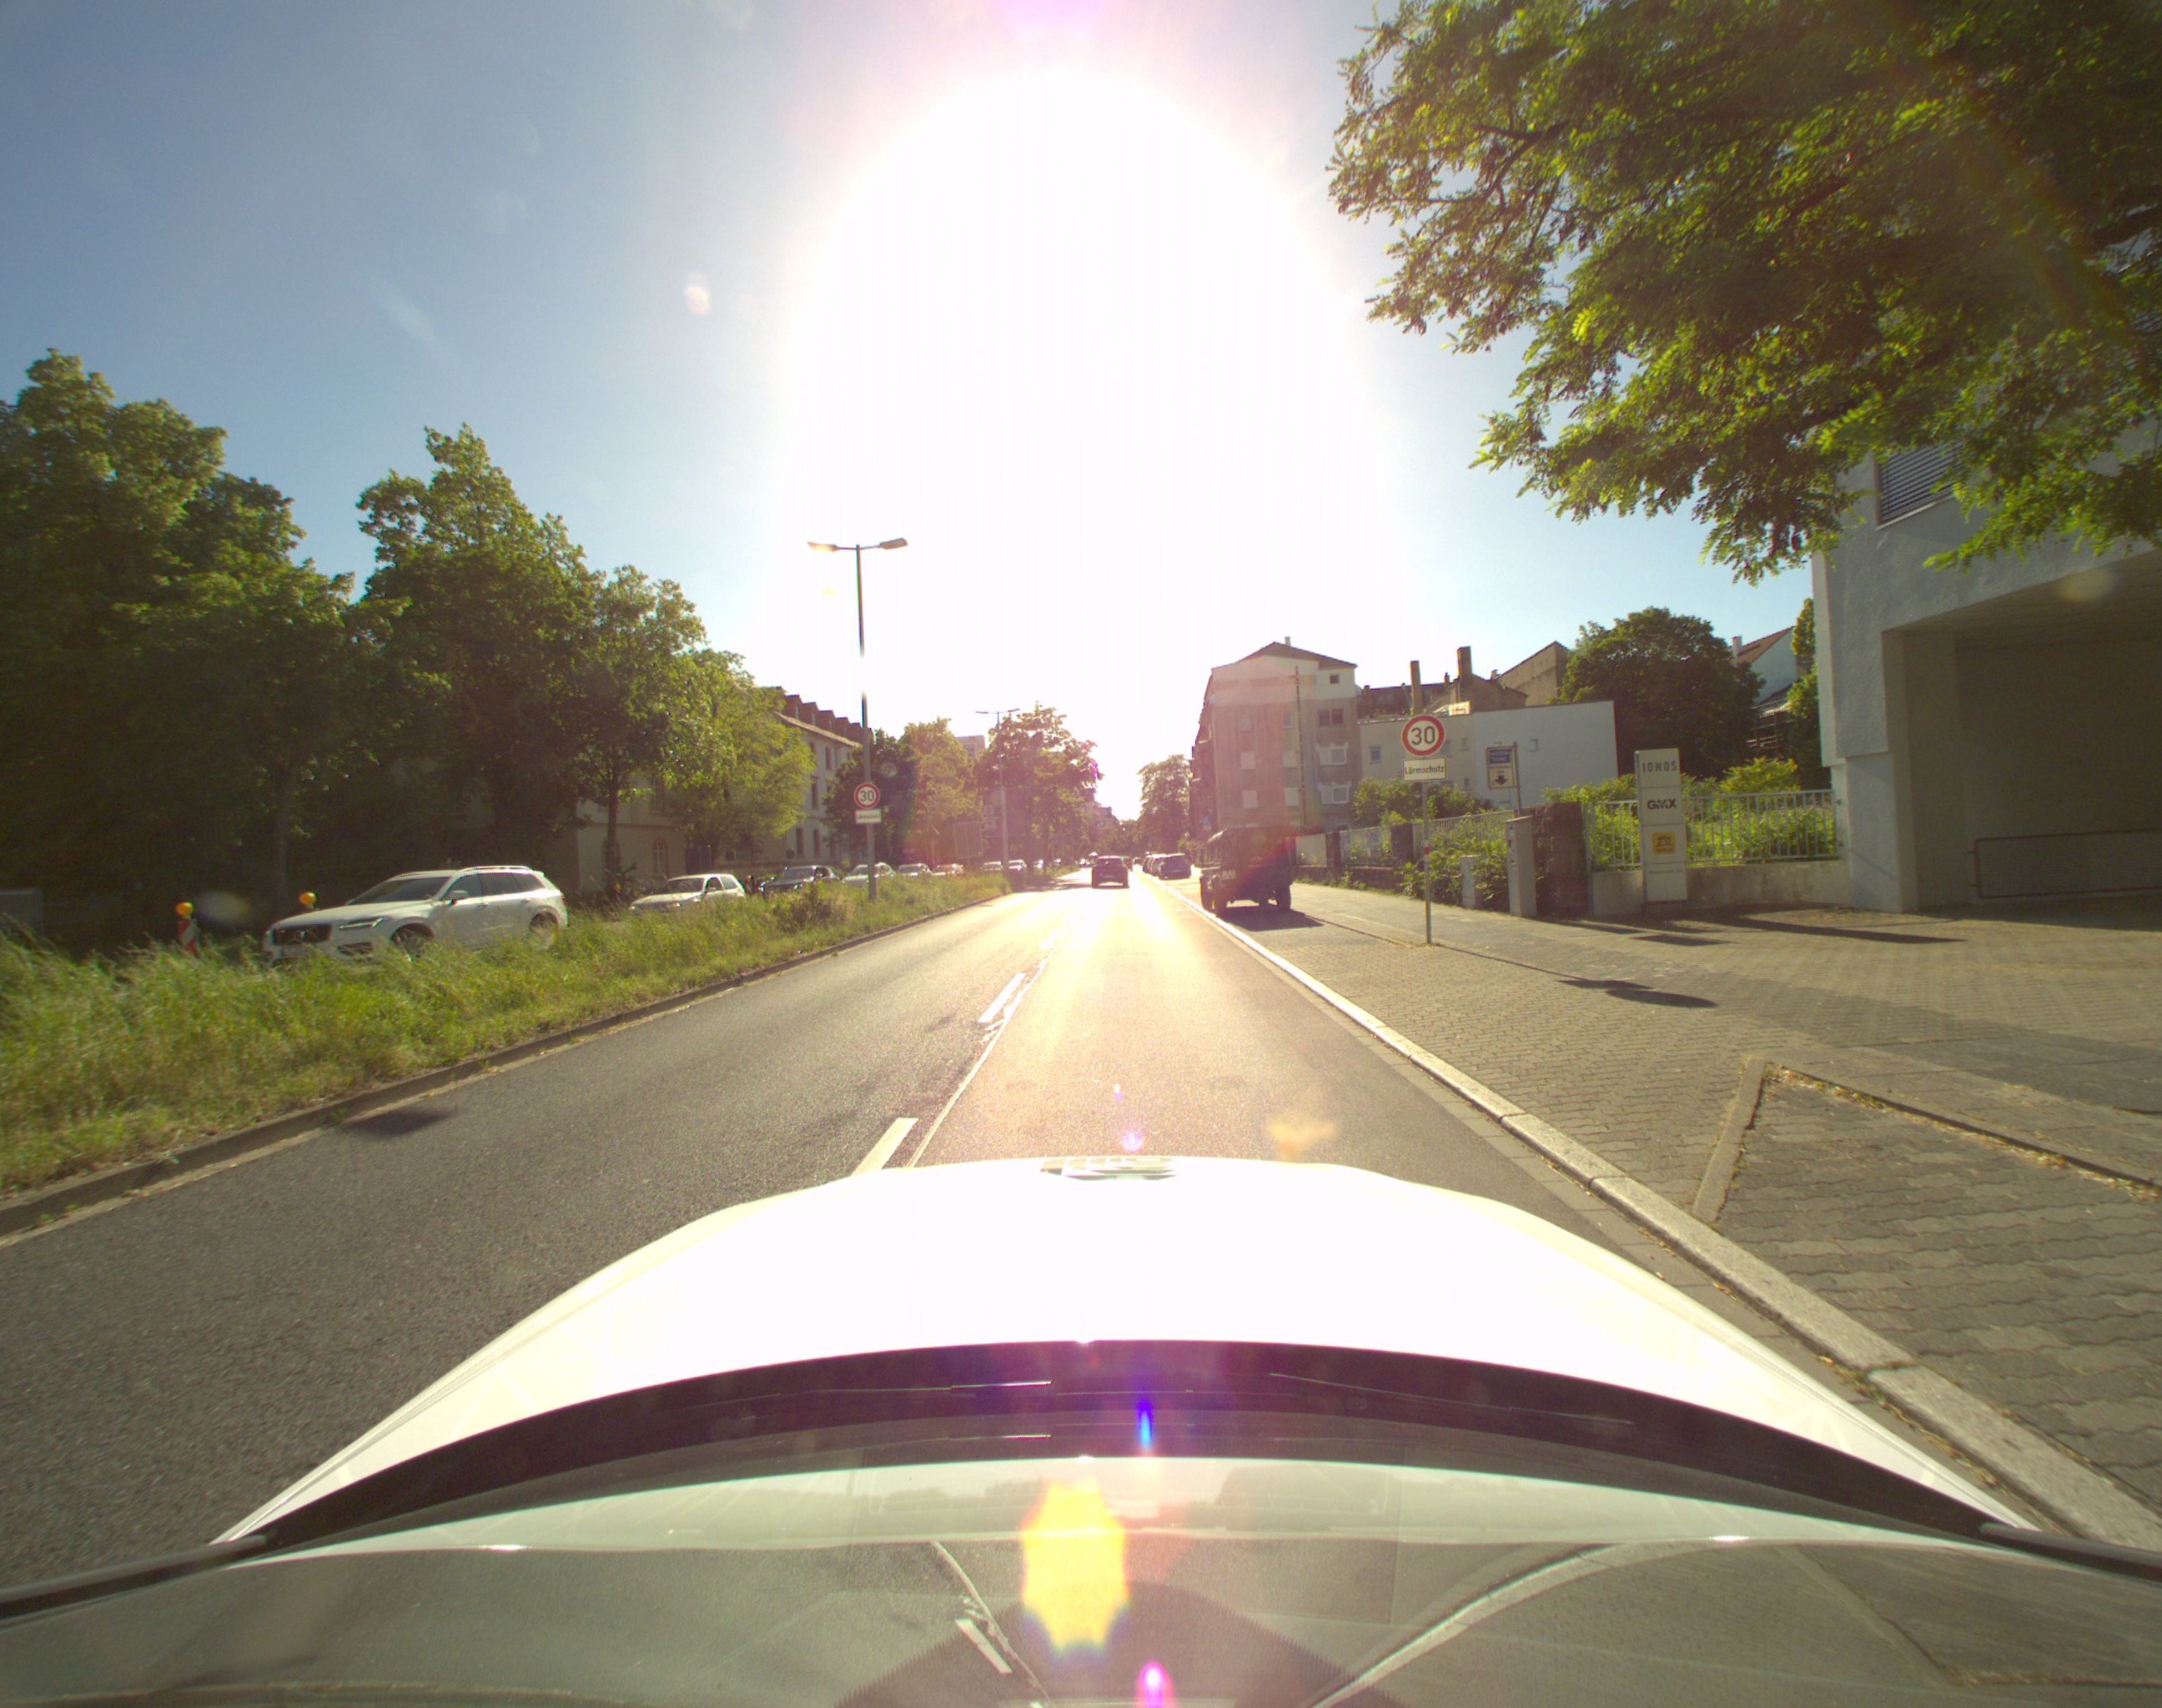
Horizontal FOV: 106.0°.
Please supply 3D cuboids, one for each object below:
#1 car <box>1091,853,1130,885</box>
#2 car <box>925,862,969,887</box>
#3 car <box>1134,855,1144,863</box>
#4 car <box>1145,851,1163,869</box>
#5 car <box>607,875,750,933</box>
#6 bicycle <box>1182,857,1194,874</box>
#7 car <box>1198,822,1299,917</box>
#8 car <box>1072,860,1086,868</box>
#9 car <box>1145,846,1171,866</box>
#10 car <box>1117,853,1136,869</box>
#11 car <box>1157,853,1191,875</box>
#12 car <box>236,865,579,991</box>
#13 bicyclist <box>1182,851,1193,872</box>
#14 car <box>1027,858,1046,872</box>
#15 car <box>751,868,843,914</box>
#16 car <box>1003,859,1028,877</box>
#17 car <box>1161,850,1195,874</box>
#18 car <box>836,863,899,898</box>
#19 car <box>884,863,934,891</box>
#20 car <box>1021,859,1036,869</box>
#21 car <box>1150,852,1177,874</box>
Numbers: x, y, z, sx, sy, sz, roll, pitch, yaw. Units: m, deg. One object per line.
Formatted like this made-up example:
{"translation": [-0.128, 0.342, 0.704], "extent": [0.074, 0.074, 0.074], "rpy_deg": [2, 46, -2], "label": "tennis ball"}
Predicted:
{"translation": [1.449, 0.727, 41.296], "extent": [1.888, 1.519, 4.000], "rpy_deg": [-1, 0, 0], "label": "car"}
{"translation": [-9.097, 1.385, 55.723], "extent": [1.830, 1.519, 4.671], "rpy_deg": [-3, 0, 4], "label": "car"}
{"translation": [11.868, 1.010, 167.762], "extent": [1.912, 1.640, 4.003], "rpy_deg": [-3, 0, 3], "label": "car"}
{"translation": [8.134, 0.641, 90.472], "extent": [1.810, 1.844, 4.371], "rpy_deg": [-3, 0, 6], "label": "car"}
{"translation": [-11.347, 1.363, 23.340], "extent": [1.789, 1.351, 4.260], "rpy_deg": [-3, 0, 2], "label": "car"}
{"translation": [8.265, 0.864, 62.938], "extent": [0.737, 1.219, 1.962], "rpy_deg": [-5, -1, 5], "label": "bicycle"}
{"translation": [4.062, 0.373, 20.524], "extent": [1.653, 2.013, 4.779], "rpy_deg": [-4, -1, 3], "label": "car"}
{"translation": [-0.384, 1.918, 155.325], "extent": [1.747, 1.519, 3.871], "rpy_deg": [-3, -1, 11], "label": "car"}
{"translation": [6.260, 0.153, 66.400], "extent": [1.663, 1.519, 3.660], "rpy_deg": [-3, 0, 0], "label": "car"}
{"translation": [4.652, 0.686, 83.442], "extent": [1.785, 1.520, 3.852], "rpy_deg": [-2, 0, 3], "label": "car"}
{"translation": [5.803, 0.598, 51.200], "extent": [1.662, 1.182, 3.902], "rpy_deg": [-6, 0, 1], "label": "car"}
{"translation": [-11.588, 1.137, 14.648], "extent": [1.789, 1.743, 5.034], "rpy_deg": [-3, 0, 2], "label": "car"}
{"translation": [8.229, 0.554, 62.807], "extent": [0.738, 1.580, 1.102], "rpy_deg": [-2, 1, 5], "label": "bicyclist"}
{"translation": [-5.208, 1.295, 95.754], "extent": [1.789, 1.519, 4.088], "rpy_deg": [-4, -1, 2], "label": "car"}
{"translation": [-10.786, 1.367, 31.291], "extent": [1.789, 1.519, 4.446], "rpy_deg": [-3, -1, 2], "label": "car"}
{"translation": [-6.571, 1.420, 82.584], "extent": [1.893, 1.626, 4.539], "rpy_deg": [-4, 0, 2], "label": "car"}
{"translation": [6.596, 0.535, 55.869], "extent": [1.663, 1.459, 3.985], "rpy_deg": [-6, 0, -1], "label": "car"}
{"translation": [-10.484, 1.252, 40.244], "extent": [1.789, 1.519, 4.260], "rpy_deg": [-3, 0, 2], "label": "car"}
{"translation": [-10.036, 1.354, 47.924], "extent": [1.788, 1.519, 4.261], "rpy_deg": [-2, -2, 3], "label": "car"}
{"translation": [-10.180, 1.927, 157.635], "extent": [1.980, 1.662, 3.977], "rpy_deg": [-3, 0, -17], "label": "car"}
{"translation": [6.107, 0.660, 60.540], "extent": [1.602, 1.446, 3.660], "rpy_deg": [-6, 0, 2], "label": "car"}
